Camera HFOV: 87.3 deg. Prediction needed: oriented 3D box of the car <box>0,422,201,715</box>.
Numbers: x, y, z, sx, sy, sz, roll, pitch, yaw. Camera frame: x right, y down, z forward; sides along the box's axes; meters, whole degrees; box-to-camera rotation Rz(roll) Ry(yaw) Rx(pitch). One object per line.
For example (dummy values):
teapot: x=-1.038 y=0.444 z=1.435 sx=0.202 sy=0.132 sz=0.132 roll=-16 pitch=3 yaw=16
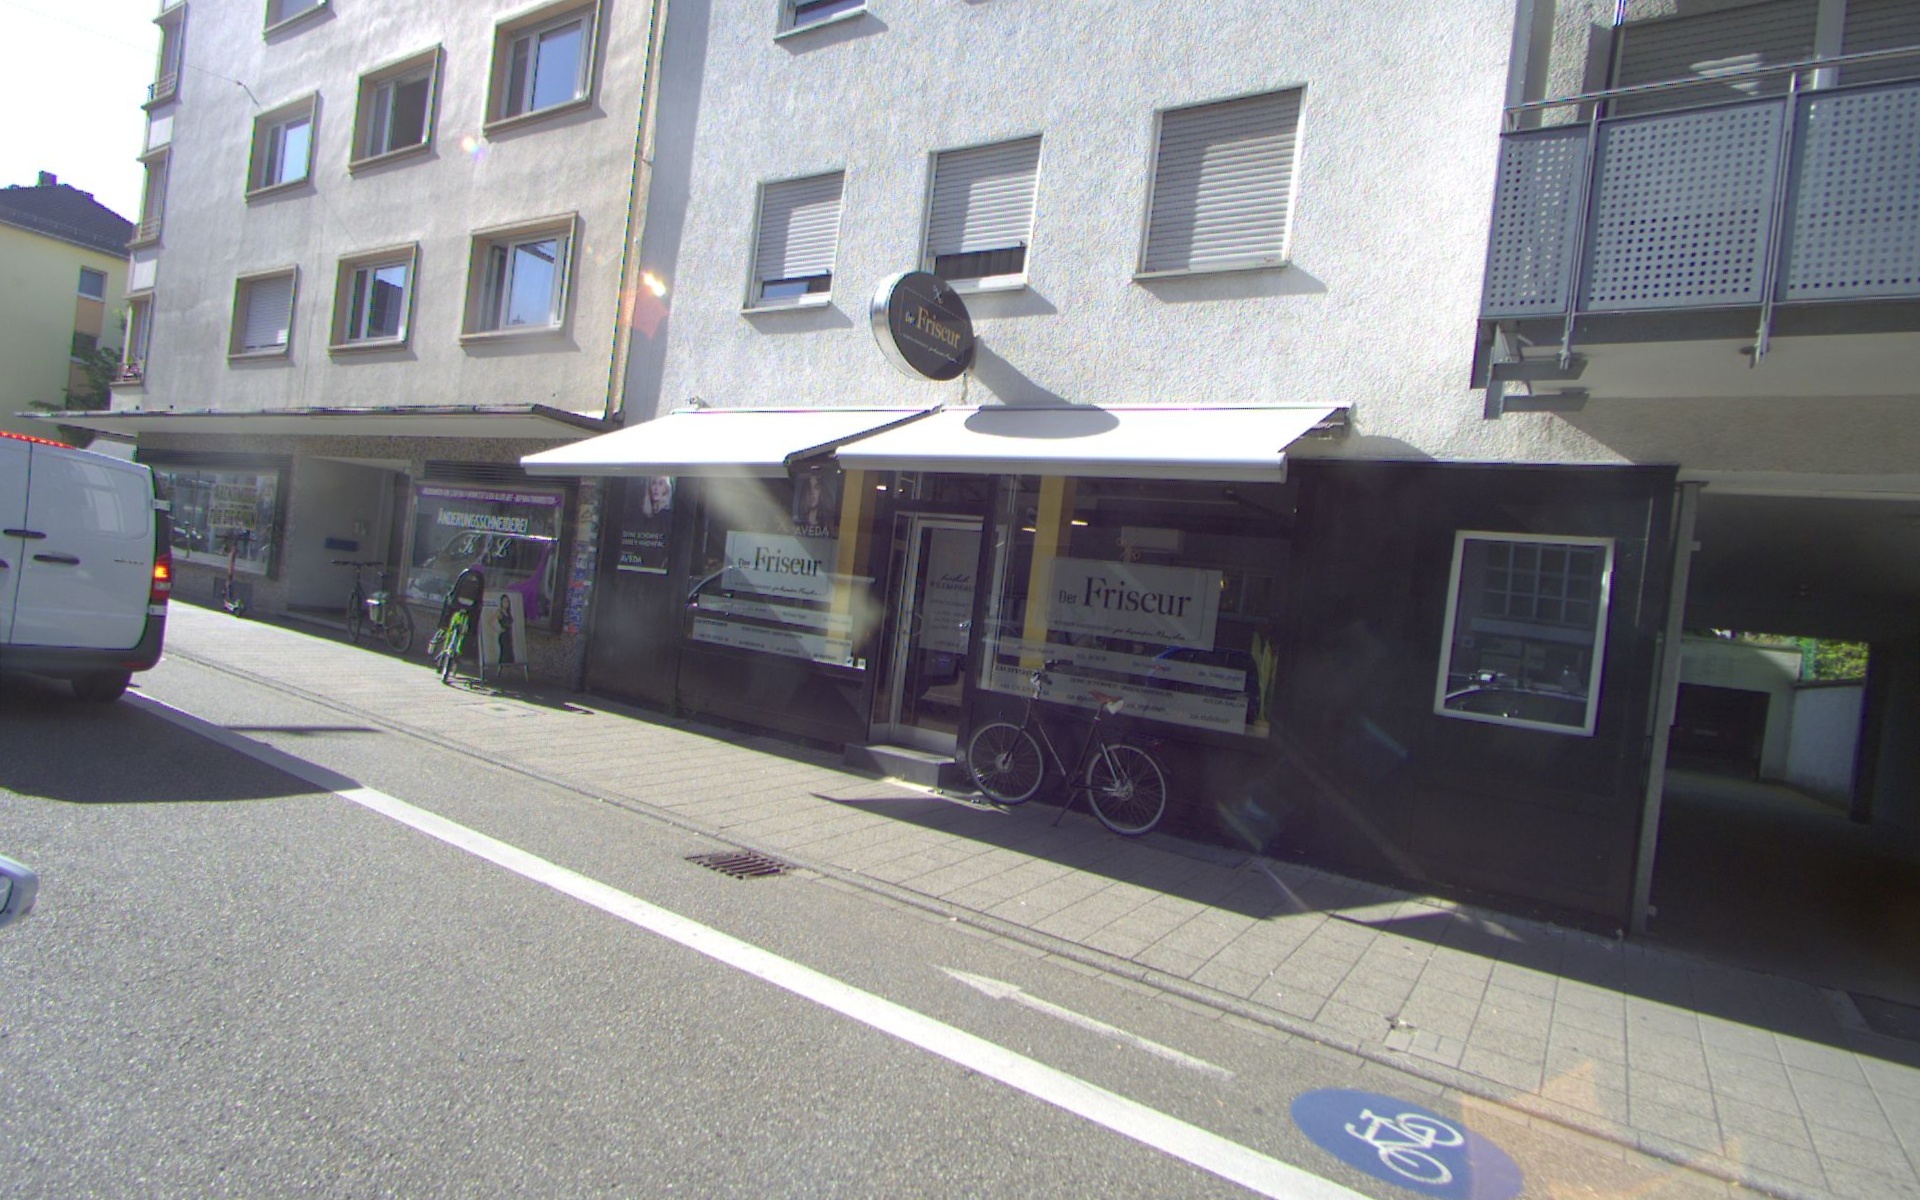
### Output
car: x=-8.275 y=-0.436 z=7.948 sx=4.914 sy=1.890 sz=1.840 roll=7 pitch=-2 yaw=32

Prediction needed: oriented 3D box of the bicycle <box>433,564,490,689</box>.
bicycle: x=-5.829 y=0.271 z=11.728 sx=0.434 sy=1.266 sz=1.746 roll=4 pitch=2 yaw=-29

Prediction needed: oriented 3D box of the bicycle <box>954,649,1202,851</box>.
bicycle: x=0.855 y=1.081 z=7.641 sx=1.763 sy=1.193 sz=0.401 roll=7 pitch=1 yaw=34

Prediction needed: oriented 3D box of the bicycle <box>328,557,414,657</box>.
bicycle: x=-7.895 y=0.076 z=13.457 sx=1.703 sy=1.150 sz=0.400 roll=7 pitch=0 yaw=42
